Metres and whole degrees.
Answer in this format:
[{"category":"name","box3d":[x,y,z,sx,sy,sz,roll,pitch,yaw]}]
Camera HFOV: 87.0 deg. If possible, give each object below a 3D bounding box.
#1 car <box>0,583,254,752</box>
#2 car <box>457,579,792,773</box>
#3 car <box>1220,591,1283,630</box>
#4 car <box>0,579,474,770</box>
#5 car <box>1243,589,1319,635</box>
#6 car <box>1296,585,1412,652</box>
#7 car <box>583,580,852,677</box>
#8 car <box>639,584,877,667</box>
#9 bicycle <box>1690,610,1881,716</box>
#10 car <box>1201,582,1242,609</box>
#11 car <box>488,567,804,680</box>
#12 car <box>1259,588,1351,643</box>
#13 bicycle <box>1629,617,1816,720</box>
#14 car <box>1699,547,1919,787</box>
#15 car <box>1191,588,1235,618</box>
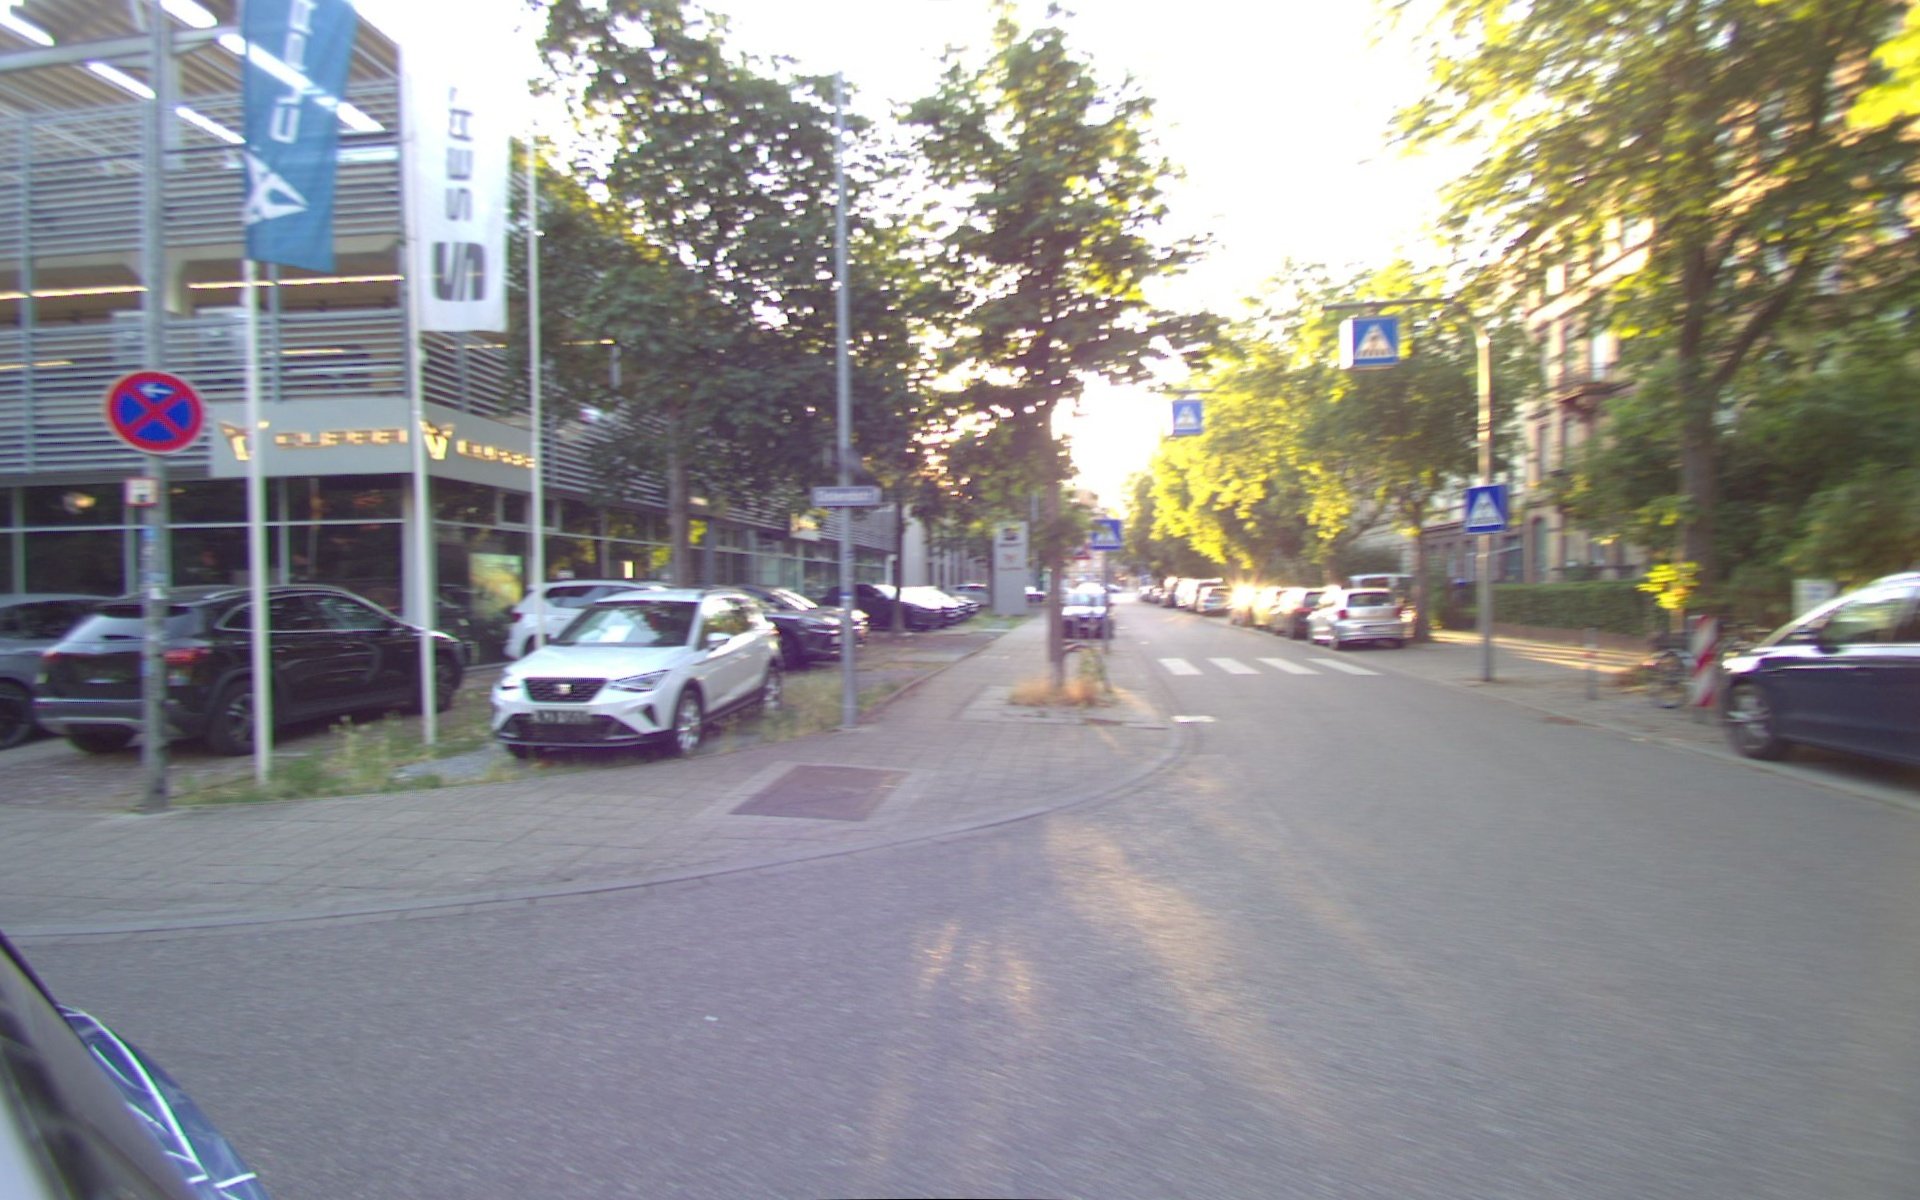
[{"category":"car","box3d":[-10.229,0.681,11.286,1.689,1.603,3.681,-1,2,12]},{"category":"car","box3d":[-3.113,0.625,10.301,1.747,1.584,3.894,-1,0,7]},{"category":"car","box3d":[11.535,0.397,40.246,1.598,1.452,4.098,-2,0,5]},{"category":"car","box3d":[-7.321,0.617,10.865,1.699,1.617,4.115,-1,1,10]},{"category":"car","box3d":[11.099,0.386,35.291,1.598,1.452,4.303,-2,0,5]},{"category":"car","box3d":[9.745,0.426,25.321,1.597,1.452,3.749,-3,0,4]},{"category":"car","box3d":[-4.455,0.522,18.922,4.537,1.628,1.868,-1,0,7]},{"category":"car","box3d":[-4.170,0.523,21.274,4.537,1.584,1.868,-1,0,7]},{"category":"bicycle","box3d":[9.559,0.687,11.821,0.597,1.101,1.810,-3,0,-5]},{"category":"car","box3d":[14.868,-0.239,57.685,1.598,1.452,4.098,-2,0,5]},{"category":"car","box3d":[-5.012,0.381,16.460,4.537,1.656,1.868,-1,0,7]},{"category":"car","box3d":[10.170,0.425,30.133,1.598,1.452,4.303,-2,0,5]},{"category":"bicycle","box3d":[8.813,0.751,11.798,0.596,1.044,1.811,-3,0,-8]},{"category":"car","box3d":[7.737,0.449,7.263,1.850,1.700,4.582,-2,0,7]},{"category":"car","box3d":[13.281,0.137,53.252,1.598,1.452,4.098,-2,0,5]}]
